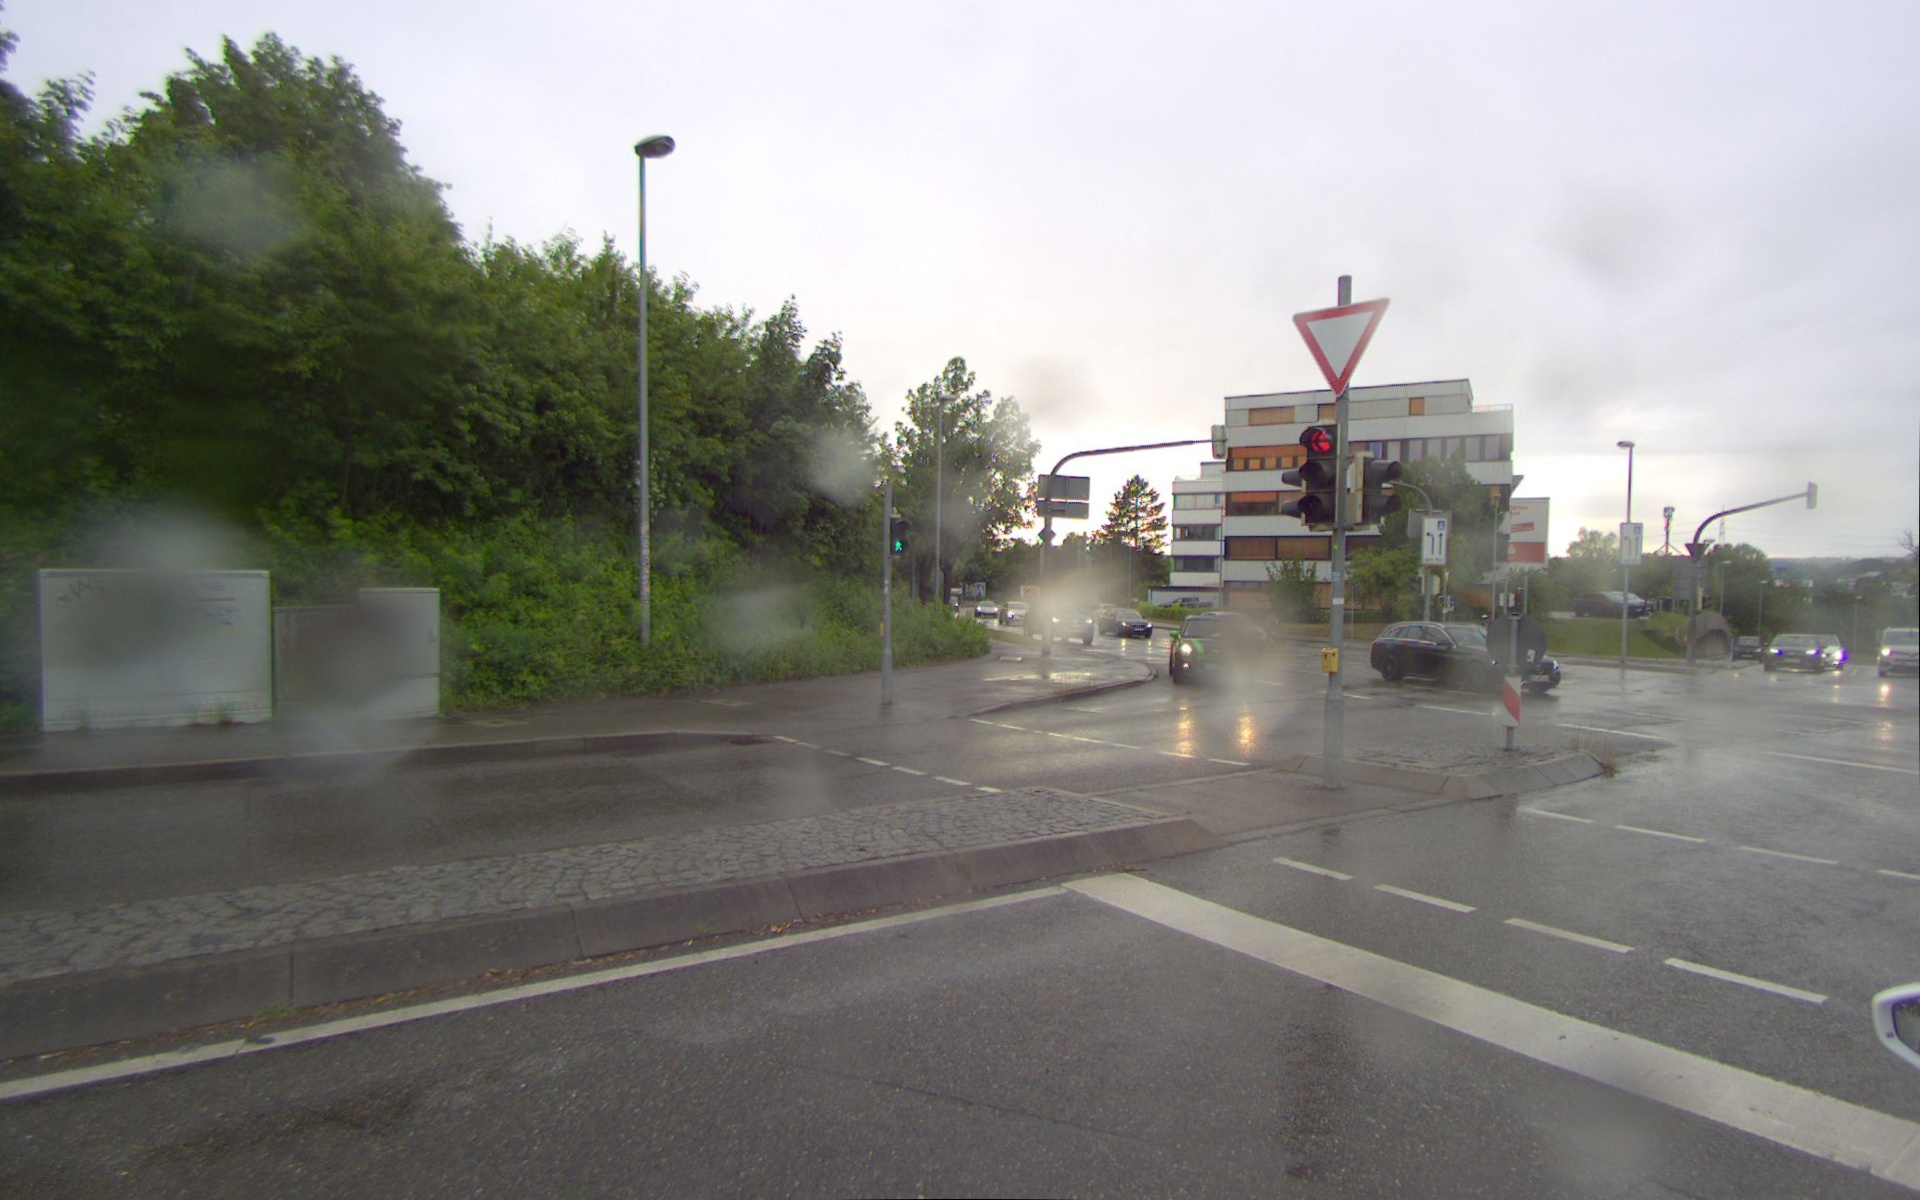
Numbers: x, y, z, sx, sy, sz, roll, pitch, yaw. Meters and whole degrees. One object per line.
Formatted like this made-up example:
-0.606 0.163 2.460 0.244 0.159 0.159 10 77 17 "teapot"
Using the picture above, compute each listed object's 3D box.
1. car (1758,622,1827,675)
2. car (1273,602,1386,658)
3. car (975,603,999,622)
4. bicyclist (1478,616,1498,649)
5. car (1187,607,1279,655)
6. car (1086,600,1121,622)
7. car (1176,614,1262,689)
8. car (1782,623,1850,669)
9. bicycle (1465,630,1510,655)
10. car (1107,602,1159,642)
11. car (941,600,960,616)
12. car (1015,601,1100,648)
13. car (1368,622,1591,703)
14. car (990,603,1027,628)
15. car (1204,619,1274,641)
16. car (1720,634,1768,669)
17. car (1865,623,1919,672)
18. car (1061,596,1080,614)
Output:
33.611 1.888 40.533 1.971 1.920 3.978 2 1 42 "car"
13.668 1.063 37.435 1.966 1.865 4.143 1 1 -14 "car"
2.181 1.000 82.431 1.820 1.377 4.446 1 1 1 "car"
24.293 1.500 46.211 0.597 1.465 0.540 1 1 -33 "bicyclist"
10.741 1.189 39.788 1.964 1.706 3.992 1 1 -10 "car"
11.398 0.864 79.992 1.919 1.617 3.998 1 1 -3 "car"
5.648 1.064 22.067 1.647 1.405 3.462 2 1 13 "car"
39.007 2.042 45.750 3.973 1.920 1.974 1 1 -44 "car"
24.272 1.946 46.236 0.603 1.066 1.764 1 1 -32 "bicycle"
8.732 1.091 51.056 1.672 1.862 3.998 1 1 -4 "car"
-0.955 0.794 102.143 1.809 1.534 4.000 1 0 1 "car"
3.931 0.964 41.259 1.967 1.725 4.597 1 1 -15 "car"
11.805 1.354 23.253 1.966 1.496 4.660 1 1 -14 "car"
2.996 0.947 62.728 1.890 1.436 4.150 1 1 -3 "car"
16.042 1.688 57.898 1.807 1.120 3.472 1 1 -43 "car"
48.269 3.129 61.846 1.972 1.920 3.977 2 1 43 "car"
34.871 1.727 37.042 3.974 1.639 1.973 1 1 -45 "car"
12.026 0.488 108.947 1.959 1.873 4.002 1 1 8 "car"
